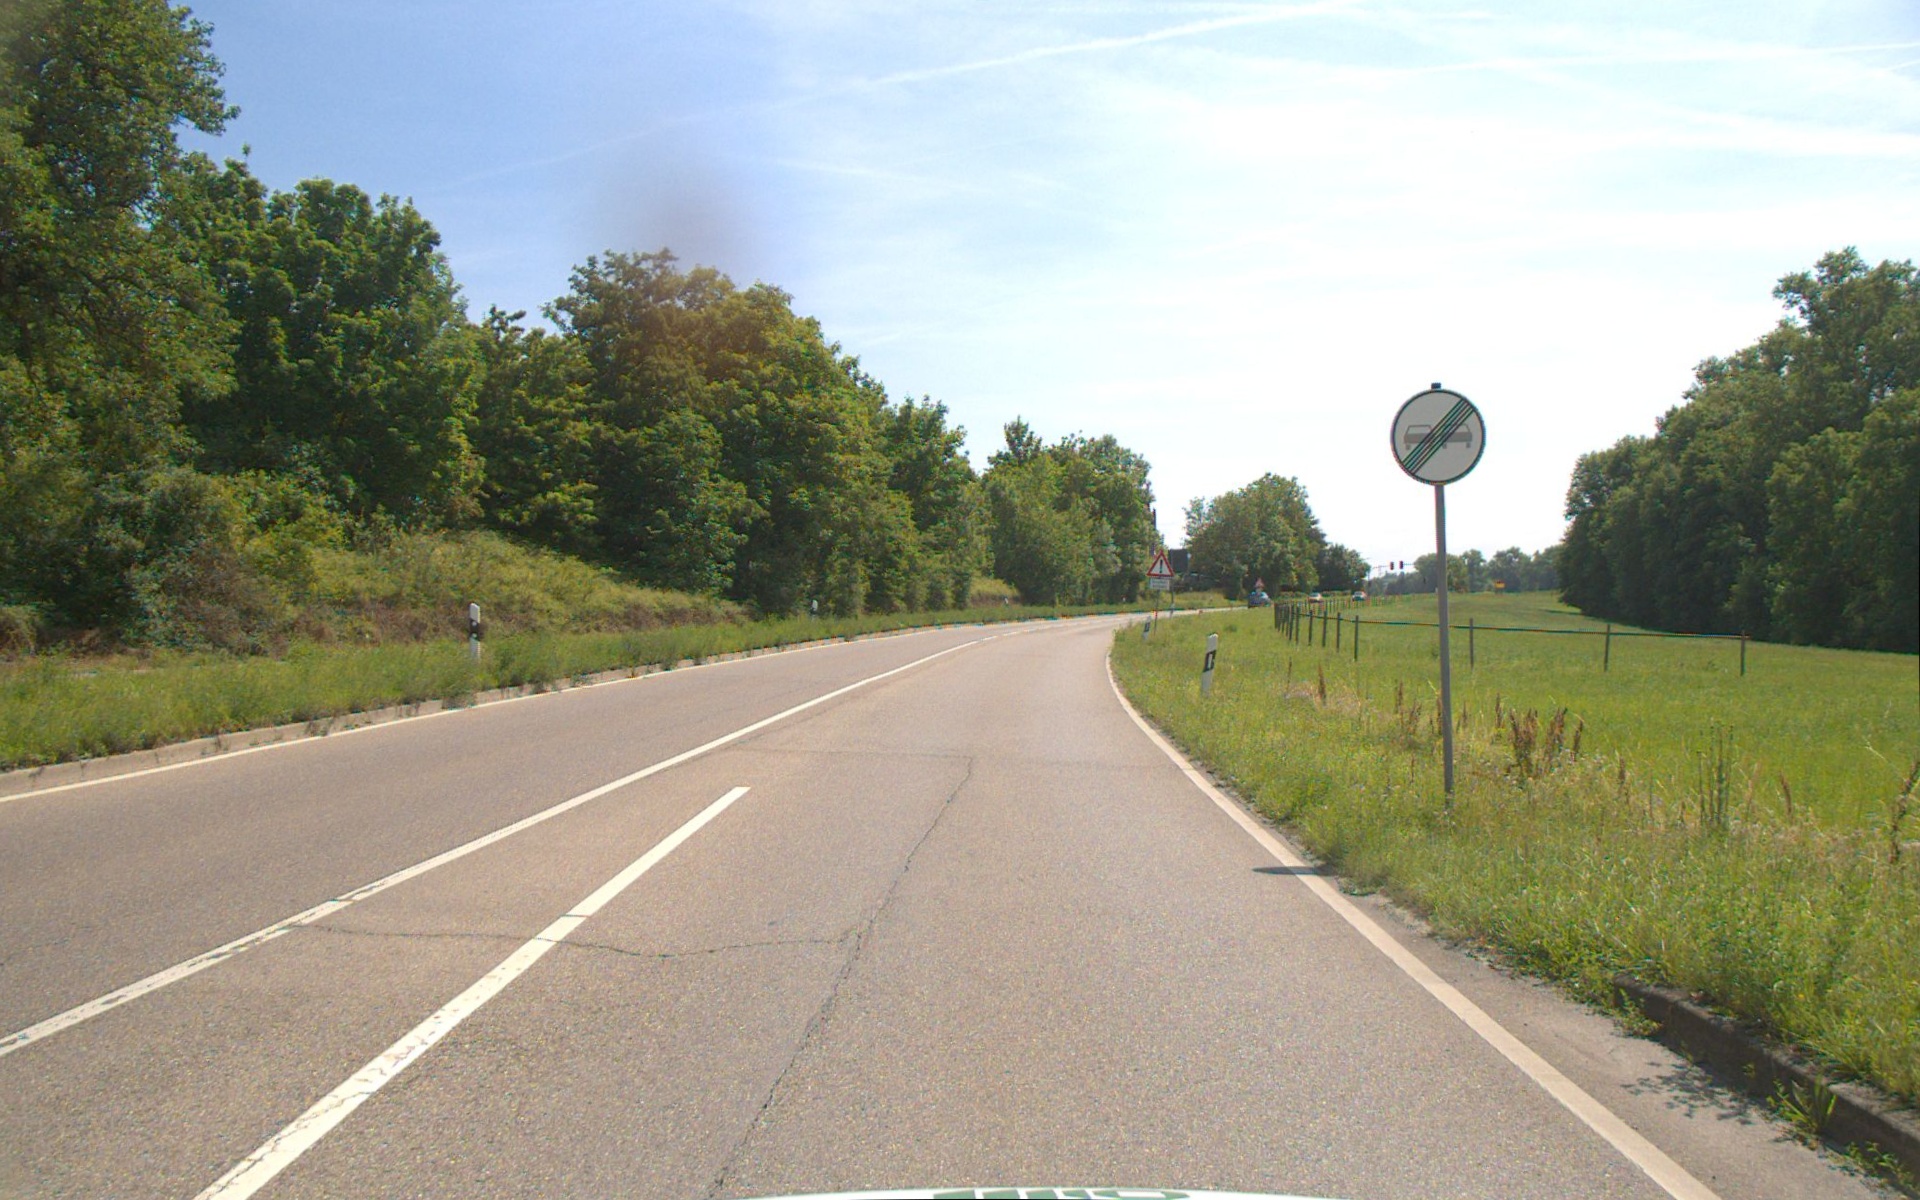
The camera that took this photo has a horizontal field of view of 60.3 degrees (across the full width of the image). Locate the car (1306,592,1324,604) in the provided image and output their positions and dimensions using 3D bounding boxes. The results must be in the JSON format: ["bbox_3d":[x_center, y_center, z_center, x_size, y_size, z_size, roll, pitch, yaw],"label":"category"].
[{"bbox_3d":[46.738,-0.214,217.785,1.783,1.494,4.001,2,0,19],"label":"car"}]

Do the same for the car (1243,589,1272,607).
[{"bbox_3d":[27.766,-0.218,154.371,1.953,1.601,4.000,1,1,21],"label":"car"}]
